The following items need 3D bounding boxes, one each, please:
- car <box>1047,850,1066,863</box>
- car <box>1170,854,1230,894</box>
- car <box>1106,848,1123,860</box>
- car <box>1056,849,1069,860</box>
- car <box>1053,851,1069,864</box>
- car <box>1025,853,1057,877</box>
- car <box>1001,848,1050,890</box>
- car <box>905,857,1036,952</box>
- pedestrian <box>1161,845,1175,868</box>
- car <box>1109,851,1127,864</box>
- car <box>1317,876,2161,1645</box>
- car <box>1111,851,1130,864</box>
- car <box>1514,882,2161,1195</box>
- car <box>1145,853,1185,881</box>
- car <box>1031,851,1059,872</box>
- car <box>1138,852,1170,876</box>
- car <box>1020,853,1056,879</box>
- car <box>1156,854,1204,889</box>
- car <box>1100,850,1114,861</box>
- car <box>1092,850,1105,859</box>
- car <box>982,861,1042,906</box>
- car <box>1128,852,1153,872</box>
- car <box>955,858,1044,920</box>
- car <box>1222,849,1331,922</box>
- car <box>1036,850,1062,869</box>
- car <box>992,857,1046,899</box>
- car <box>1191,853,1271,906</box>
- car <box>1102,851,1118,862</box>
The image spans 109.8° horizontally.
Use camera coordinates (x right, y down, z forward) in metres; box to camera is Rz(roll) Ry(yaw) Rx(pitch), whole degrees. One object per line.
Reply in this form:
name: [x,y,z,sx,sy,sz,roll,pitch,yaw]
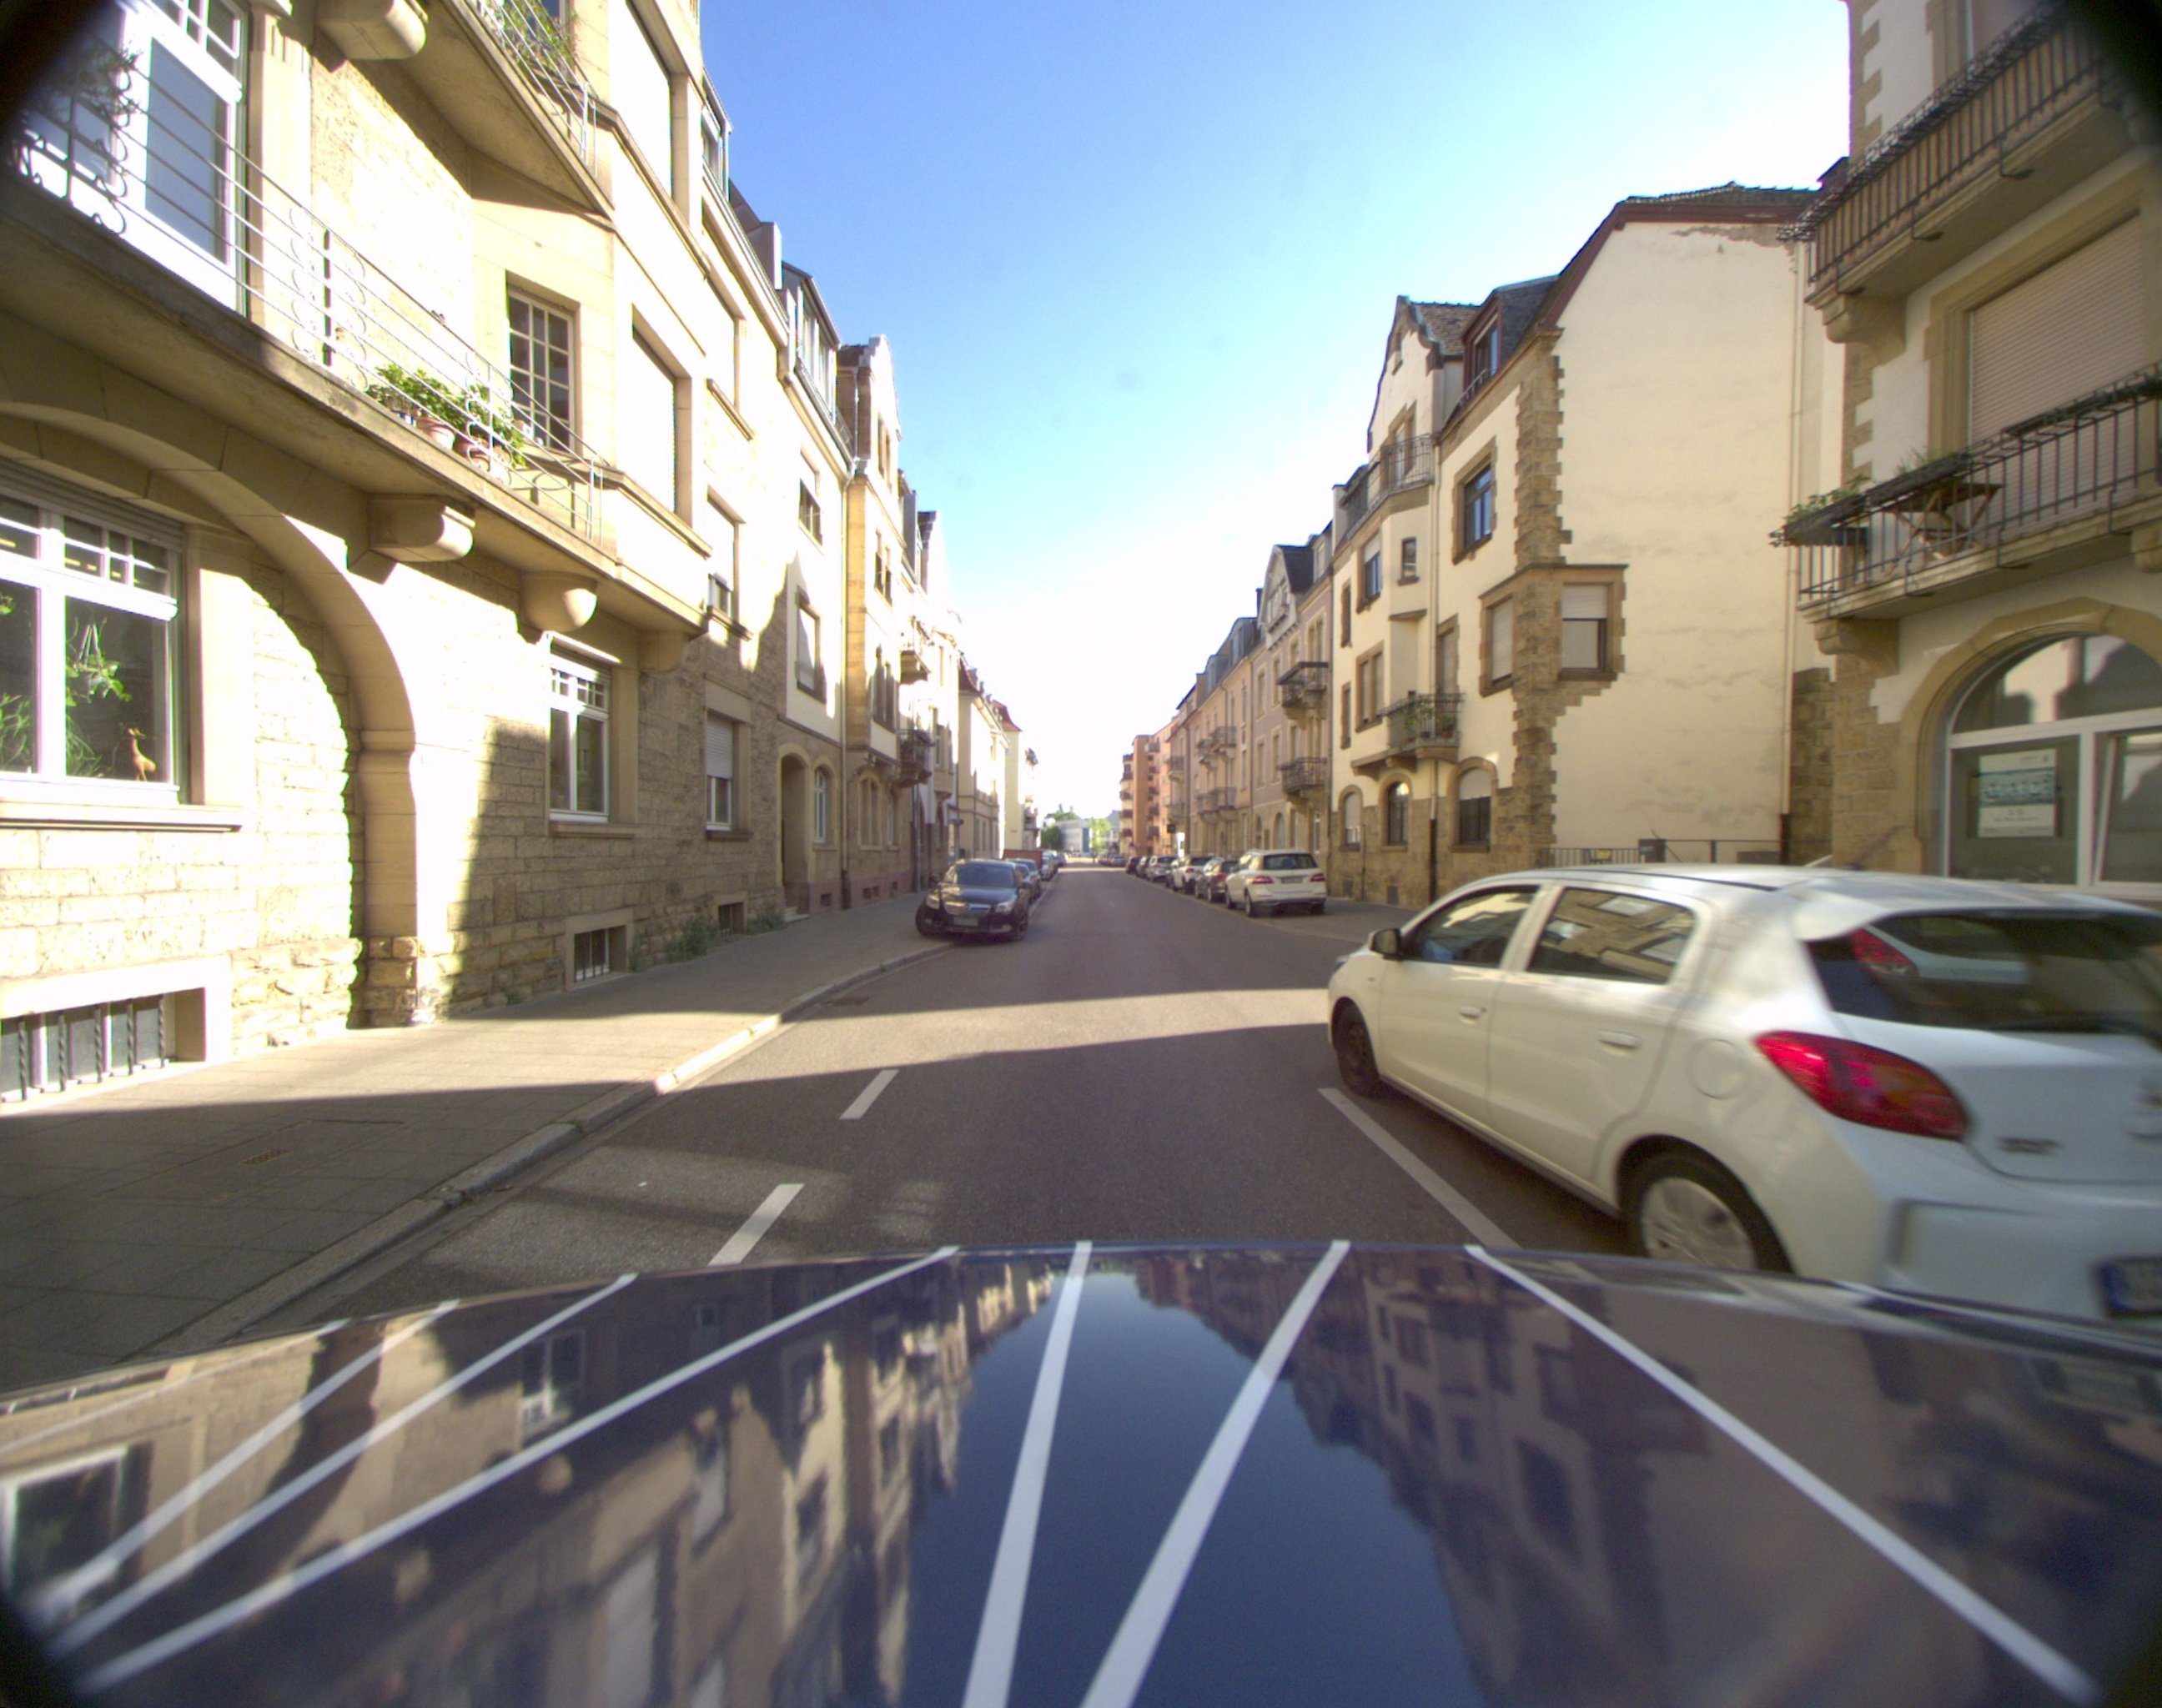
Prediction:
car: [-2.846,0.271,88.985,2.005,1.500,4.320,1,1,-1]
car: [4.984,0.799,32.372,1.890,1.500,4.320,-2,1,1]
car: [4.480,0.008,101.920,2.005,1.500,4.320,1,1,-1]
car: [-2.944,0.073,123.342,2.005,1.722,4.320,1,1,-1]
car: [-2.585,0.435,99.959,2.005,1.500,4.320,1,1,-1]
car: [-2.749,0.741,52.647,2.005,1.500,4.320,1,1,-1]
car: [-2.559,0.654,35.816,2.005,1.828,4.320,1,1,-1]
car: [-2.036,0.886,15.225,2.024,1.500,4.111,2,1,-1]
pedestrian: [7.980,0.241,69.614,1.066,2.002,0.952,-2,1,-2]
car: [4.621,0.395,96.212,2.005,1.500,4.320,1,1,-1]
car: [2.578,0.910,3.384,1.703,1.474,3.532,1,0,-4]
car: [4.671,0.412,91.398,2.005,1.500,4.320,1,1,-1]
car: [5.113,1.019,5.730,1.656,1.449,3.643,2,0,2]
car: [5.021,0.737,45.877,1.890,1.500,4.320,-2,1,1]
car: [-2.745,0.540,58.672,2.005,1.500,4.320,1,1,-1]
car: [4.991,0.672,52.357,1.809,1.500,4.003,-2,1,1]
car: [-2.653,0.722,47.873,2.005,1.500,4.320,1,1,-1]
car: [4.856,0.821,37.812,1.857,1.491,4.318,-2,1,1]
car: [3.956,0.191,116.766,2.005,1.500,4.320,1,1,-1]
car: [3.008,0.062,131.178,2.005,1.500,4.320,1,1,-1]
car: [-2.233,0.931,25.384,1.661,1.272,3.729,1,1,-1]
car: [4.892,0.645,62.979,1.793,1.500,4.320,-2,1,1]
car: [-2.097,0.878,20.805,2.005,1.499,4.321,1,0,-1]
car: [5.186,0.756,20.719,1.890,1.717,4.211,-2,1,1]
car: [-2.673,0.456,64.505,2.005,1.500,4.320,1,1,-1]
car: [-2.385,0.895,30.126,1.824,1.415,4.320,1,1,-1]
car: [5.123,0.825,26.551,1.890,1.500,4.320,-4,1,1]
car: [4.110,0.291,107.258,2.005,1.500,4.320,1,1,-1]
